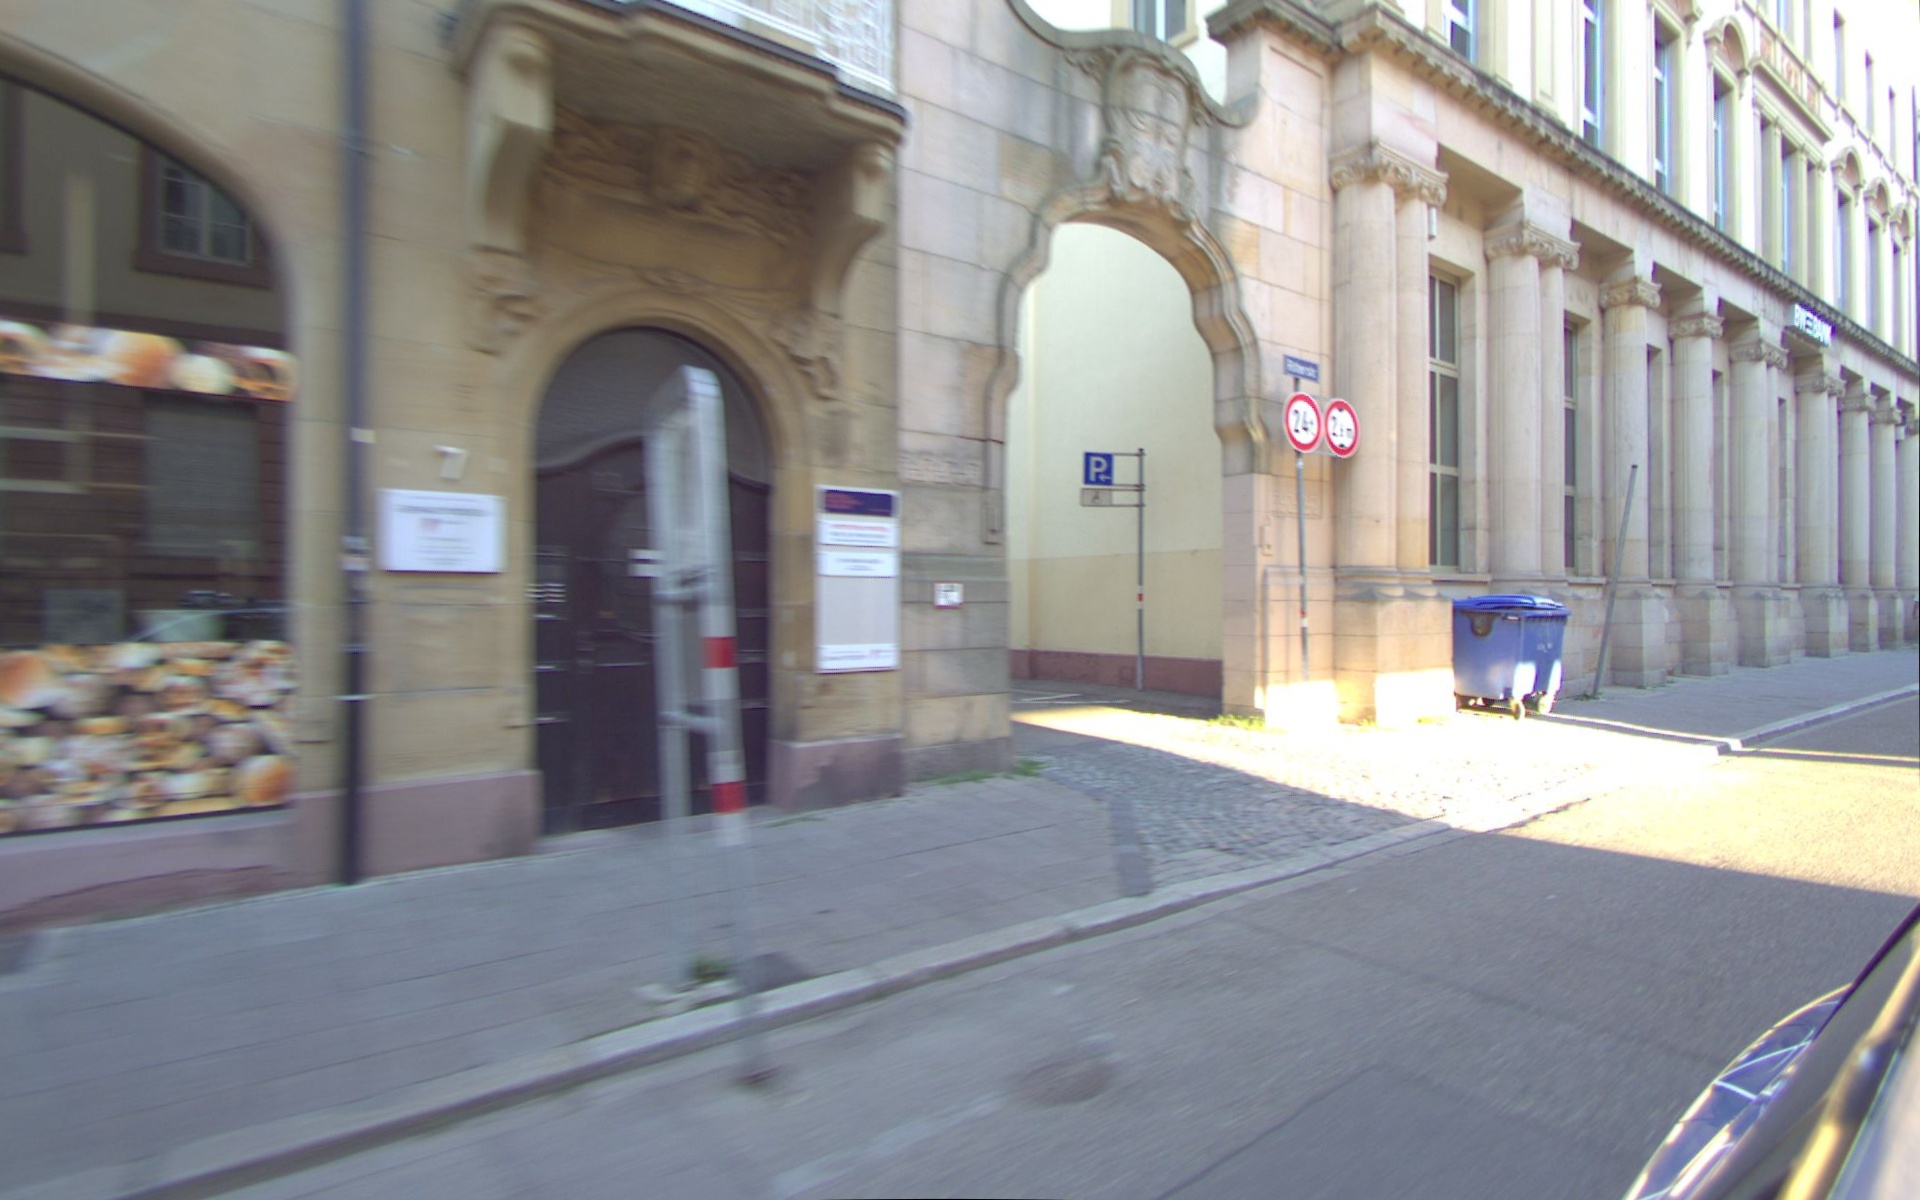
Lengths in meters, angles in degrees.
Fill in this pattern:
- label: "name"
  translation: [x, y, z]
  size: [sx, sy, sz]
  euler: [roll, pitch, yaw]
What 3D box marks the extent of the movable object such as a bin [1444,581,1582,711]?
- label: "movable object such as a bin"
  translation: [6.403, 0.486, 11.724]
  size: [1.218, 1.409, 0.993]
  euler: [0, 1, -38]
